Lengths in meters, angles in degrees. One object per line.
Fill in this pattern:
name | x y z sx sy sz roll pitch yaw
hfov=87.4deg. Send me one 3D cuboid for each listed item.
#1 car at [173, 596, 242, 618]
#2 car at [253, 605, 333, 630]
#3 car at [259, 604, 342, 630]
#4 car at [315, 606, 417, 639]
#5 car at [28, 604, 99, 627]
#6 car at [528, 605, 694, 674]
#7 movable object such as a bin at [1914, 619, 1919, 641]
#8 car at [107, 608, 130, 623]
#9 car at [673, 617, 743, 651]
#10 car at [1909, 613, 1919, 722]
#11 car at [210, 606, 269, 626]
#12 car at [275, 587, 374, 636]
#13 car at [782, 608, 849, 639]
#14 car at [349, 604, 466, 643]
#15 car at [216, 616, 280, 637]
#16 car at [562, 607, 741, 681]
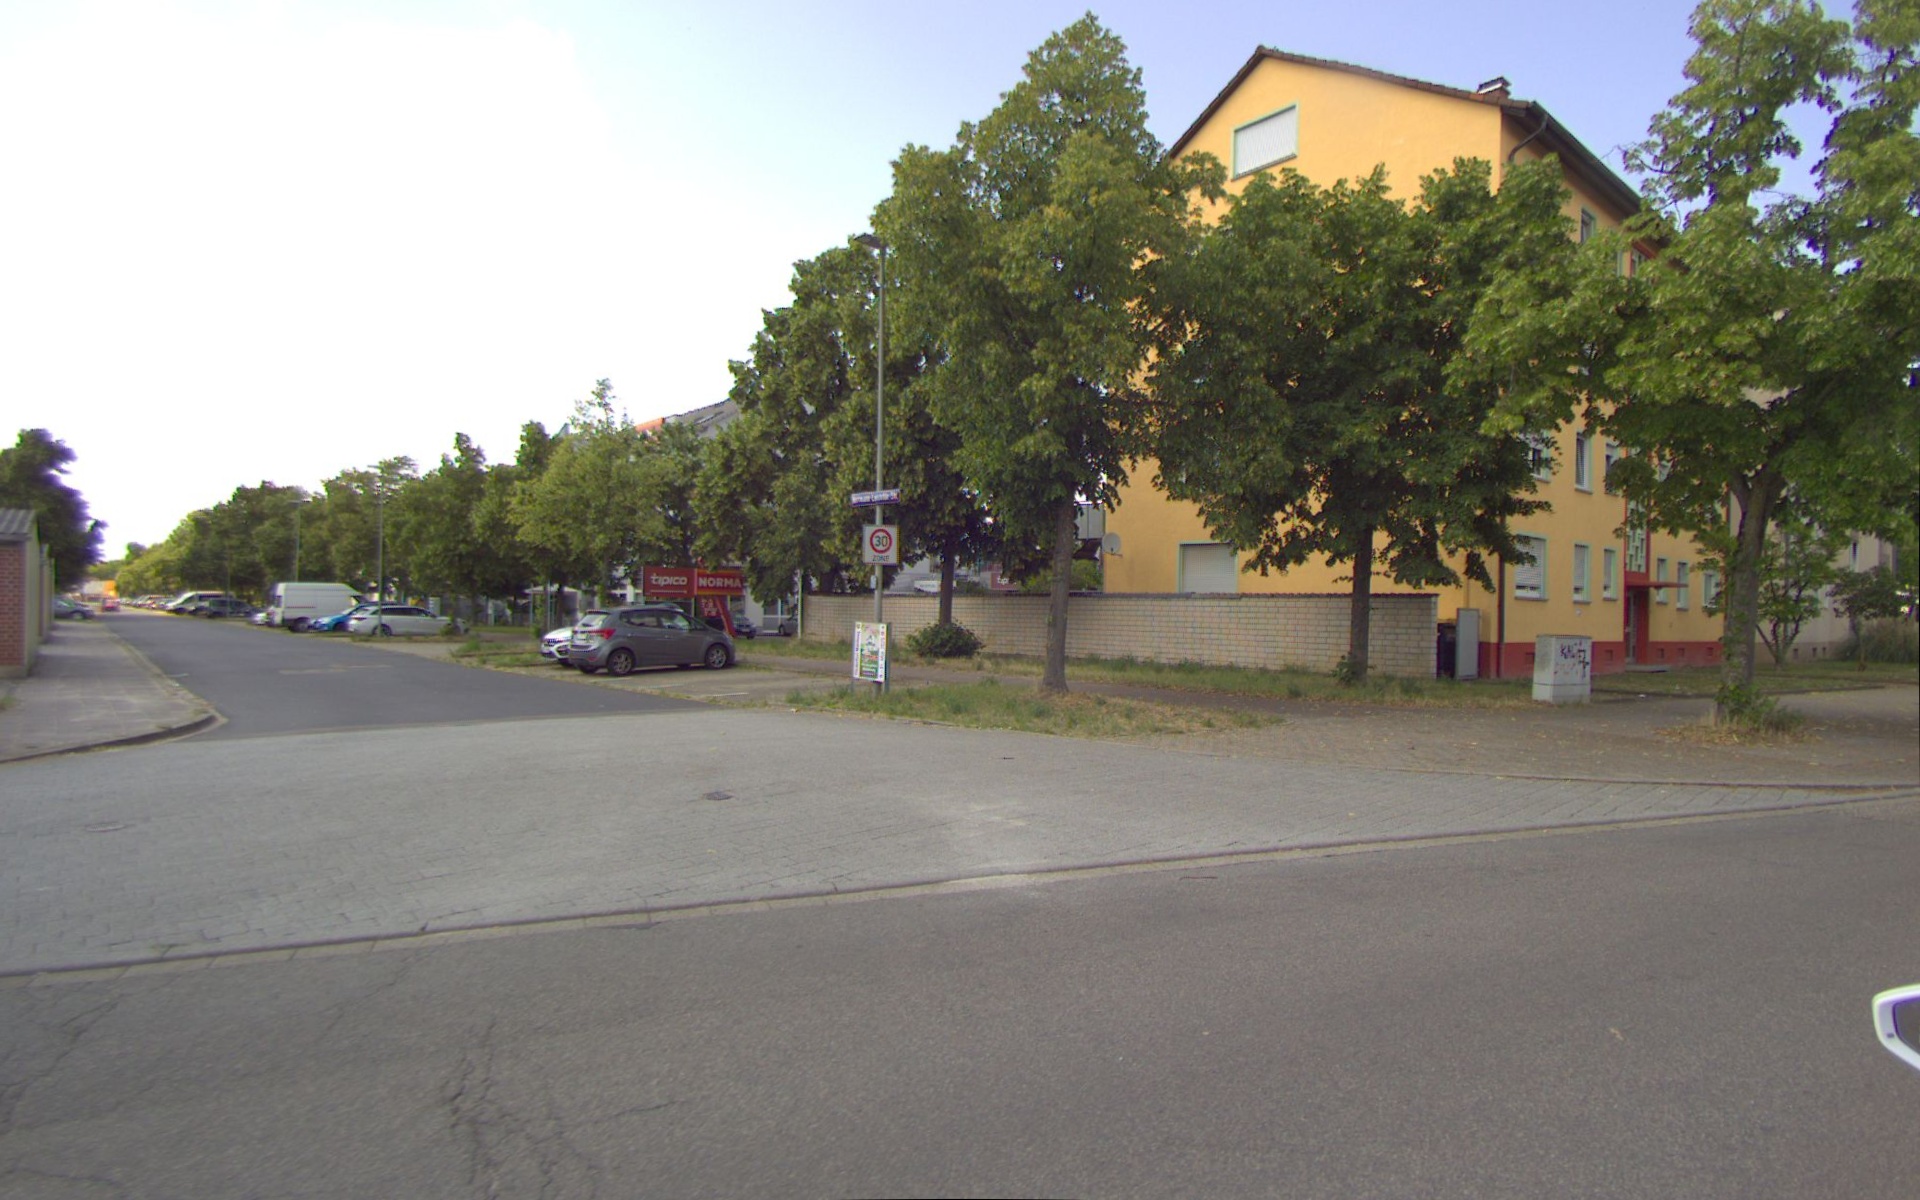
car | -81.043 0.774 108.254 5.825 2.195 1.717 1 -1 -42
car | -43.138 1.124 65.018 4.221 1.502 1.634 -1 1 -38
car | -40.887 1.041 62.329 4.221 1.502 1.634 -1 1 -38
car | -29.739 1.086 50.330 4.221 1.502 1.634 -1 1 -38
car | -61.788 1.081 69.274 3.603 1.584 1.467 1 -1 -42
car | -9.245 0.989 26.799 1.629 1.613 3.877 0 1 43
movable object such as a bin | 58.879 1.838 61.103 0.871 1.292 1.181 -4 3 -43
car | -101.257 1.917 120.829 4.083 1.679 1.674 0 -3 45
car | -12.992 1.698 51.781 3.844 1.613 1.643 0 1 42
car | 15.423 1.067 14.203 3.934 1.506 1.677 3 2 -28
car | -61.564 1.351 85.848 4.001 1.699 1.576 1 -1 -42
car | -34.020 0.623 53.821 4.230 2.561 1.830 1 -1 -44
car | -8.179 1.299 56.604 3.844 1.613 1.643 0 1 42
car | -23.772 0.965 43.295 4.222 1.502 1.634 -1 1 -39
car | -57.816 2.124 81.580 4.221 1.502 1.634 -1 1 -38
car | -7.463 1.005 24.537 1.629 1.559 3.877 0 1 43
